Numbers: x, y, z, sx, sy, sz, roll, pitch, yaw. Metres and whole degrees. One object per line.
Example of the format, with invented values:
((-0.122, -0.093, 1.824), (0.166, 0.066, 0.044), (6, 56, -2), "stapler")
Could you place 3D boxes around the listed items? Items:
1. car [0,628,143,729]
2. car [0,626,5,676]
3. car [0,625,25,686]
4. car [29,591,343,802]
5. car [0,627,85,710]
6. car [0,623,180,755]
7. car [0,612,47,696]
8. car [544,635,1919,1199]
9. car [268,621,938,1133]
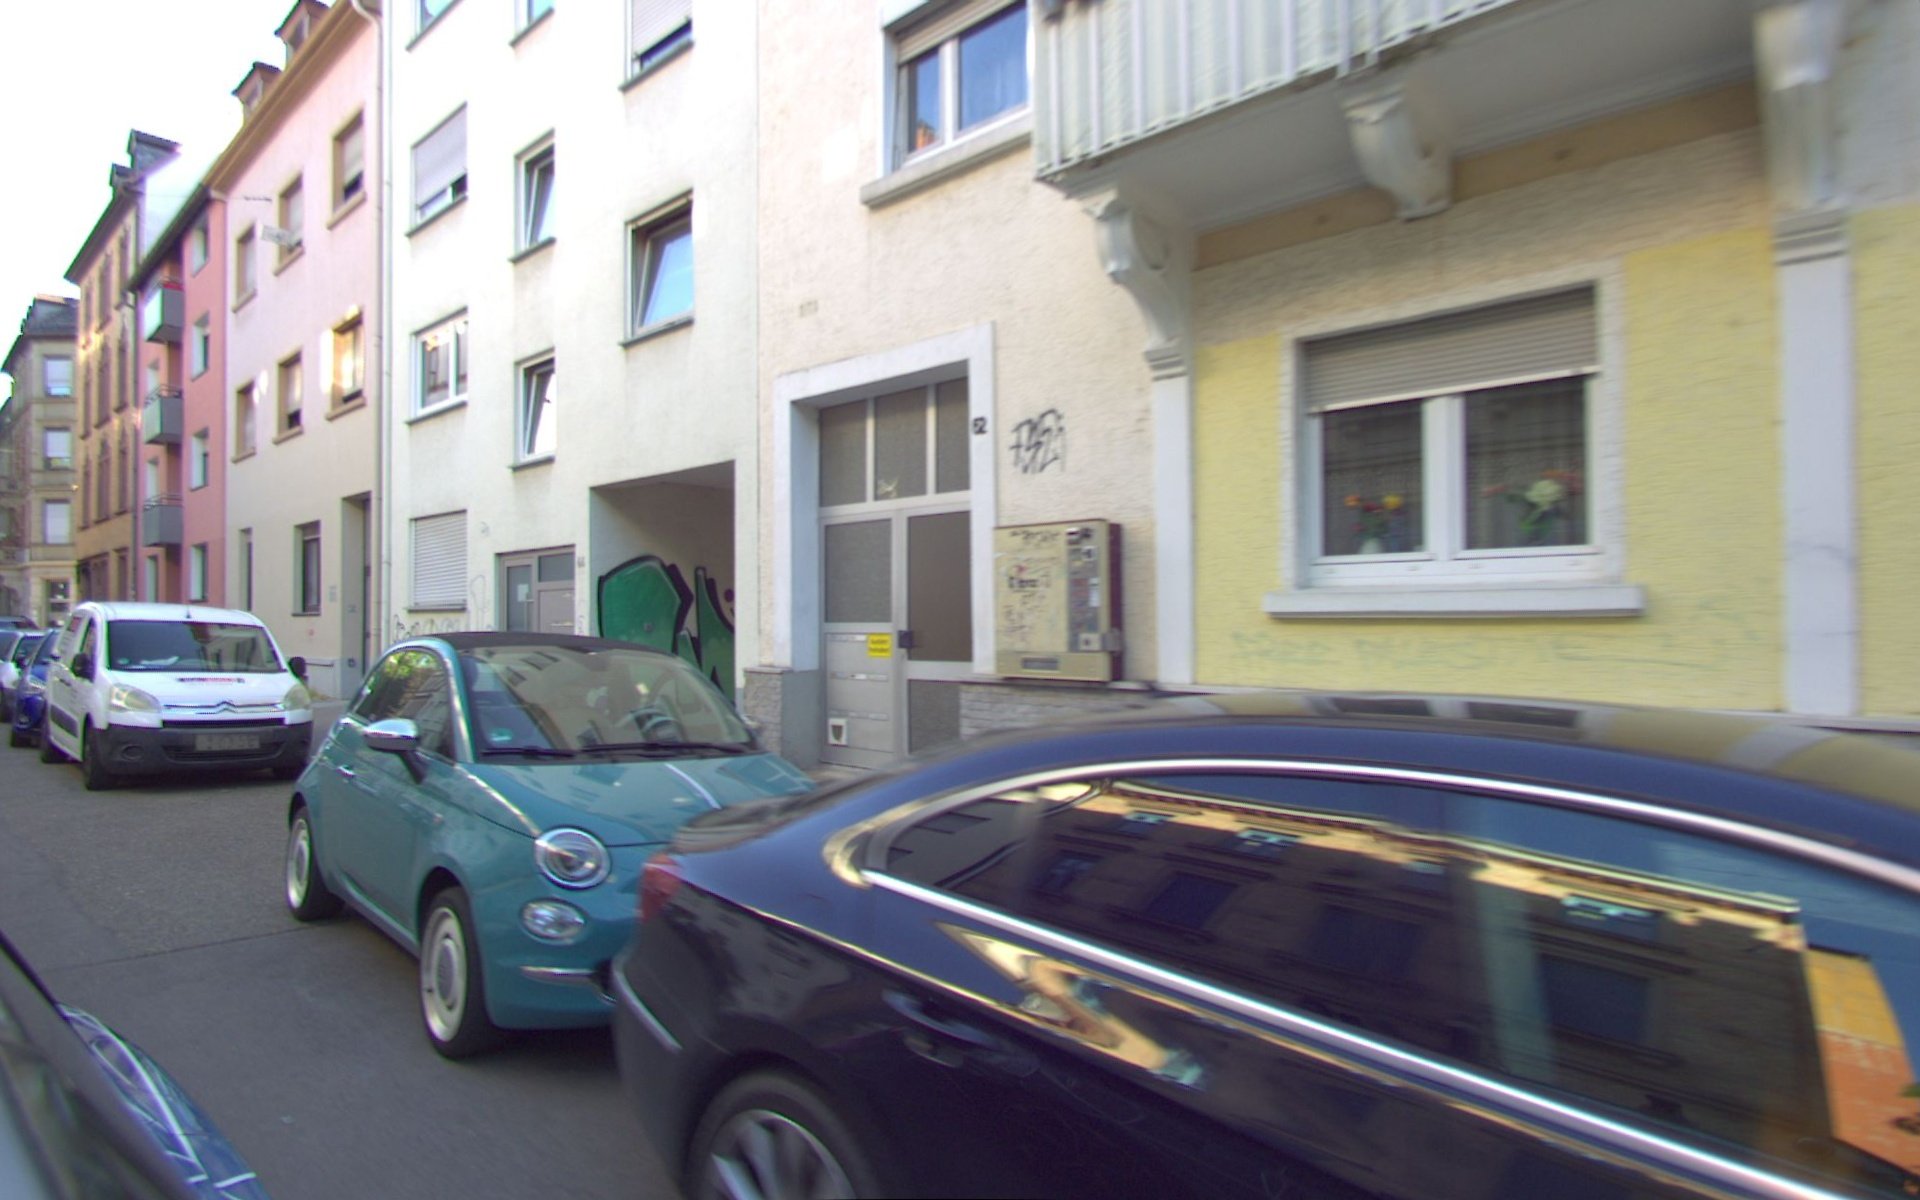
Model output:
((-15.091, 1.230, 16.793), (4.083, 1.470, 1.653), (-1, -5, 42), "car")
((-29.691, 1.502, 29.880), (4.102, 1.545, 1.745), (-1, -5, 42), "car")
((-26.318, 1.424, 26.872), (4.102, 1.545, 1.745), (-1, -4, 42), "car")
((-8.175, 0.882, 10.533), (4.314, 1.754, 1.731), (-1, -5, 42), "car")
((-18.724, 1.292, 19.907), (3.815, 1.483, 1.745), (-1, -5, 42), "car")
((-11.959, 1.125, 13.810), (1.651, 1.539, 4.089), (5, -5, -42), "car")
((-22.705, 1.194, 23.485), (4.102, 1.838, 1.745), (-1, -5, 42), "car")
((1.258, 0.844, 1.580), (4.391, 1.454, 1.760), (-1, -5, 42), "car")
((-1.887, 0.874, 4.737), (1.575, 1.462, 3.488), (5, -5, -44), "car")
